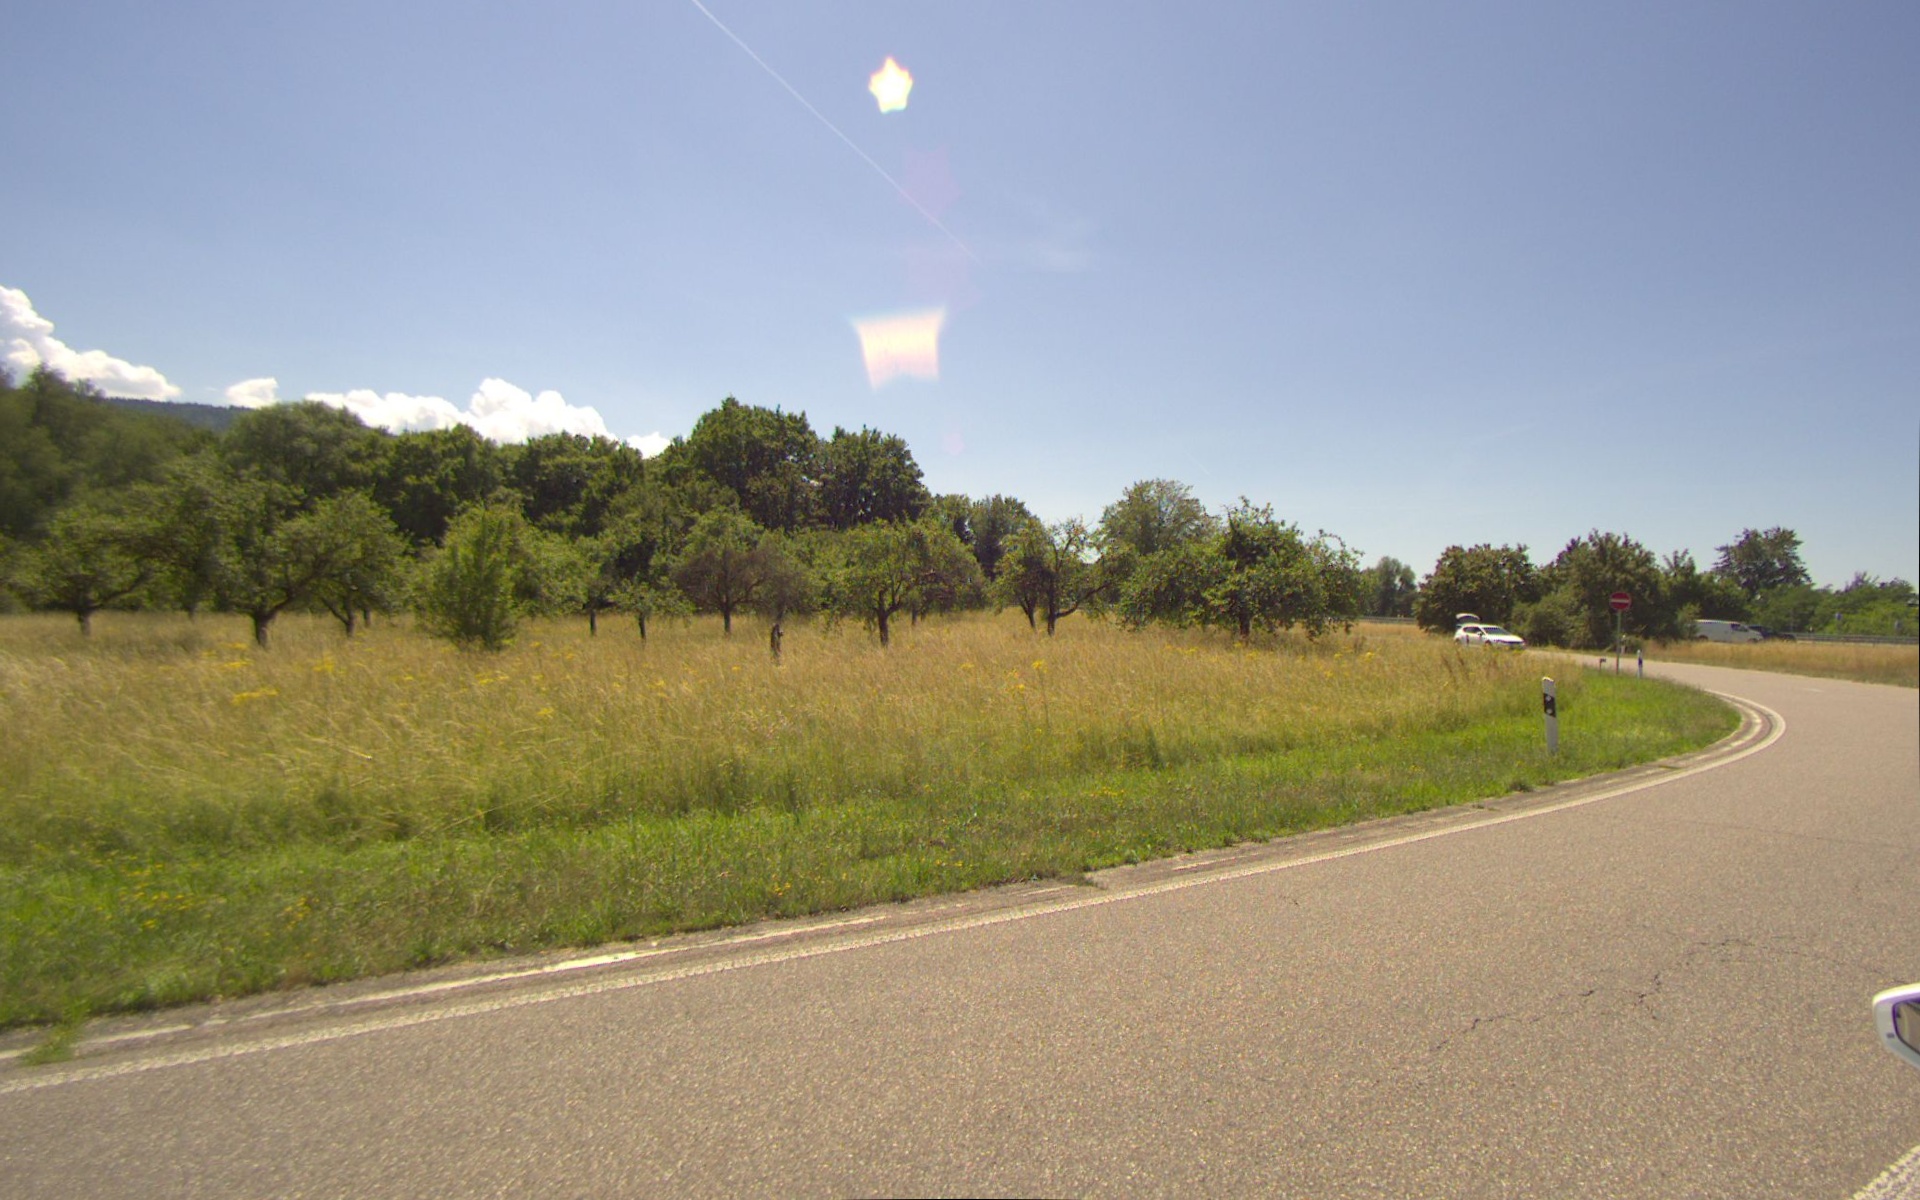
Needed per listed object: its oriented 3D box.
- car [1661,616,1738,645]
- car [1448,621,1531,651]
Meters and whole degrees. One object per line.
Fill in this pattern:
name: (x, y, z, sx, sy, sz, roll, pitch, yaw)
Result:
car: (58.693, 2.441, 79.787, 4.439, 1.953, 2.000, 4, 0, 19)
car: (27.356, 1.843, 52.051, 1.817, 1.443, 4.145, 0, -1, -5)
